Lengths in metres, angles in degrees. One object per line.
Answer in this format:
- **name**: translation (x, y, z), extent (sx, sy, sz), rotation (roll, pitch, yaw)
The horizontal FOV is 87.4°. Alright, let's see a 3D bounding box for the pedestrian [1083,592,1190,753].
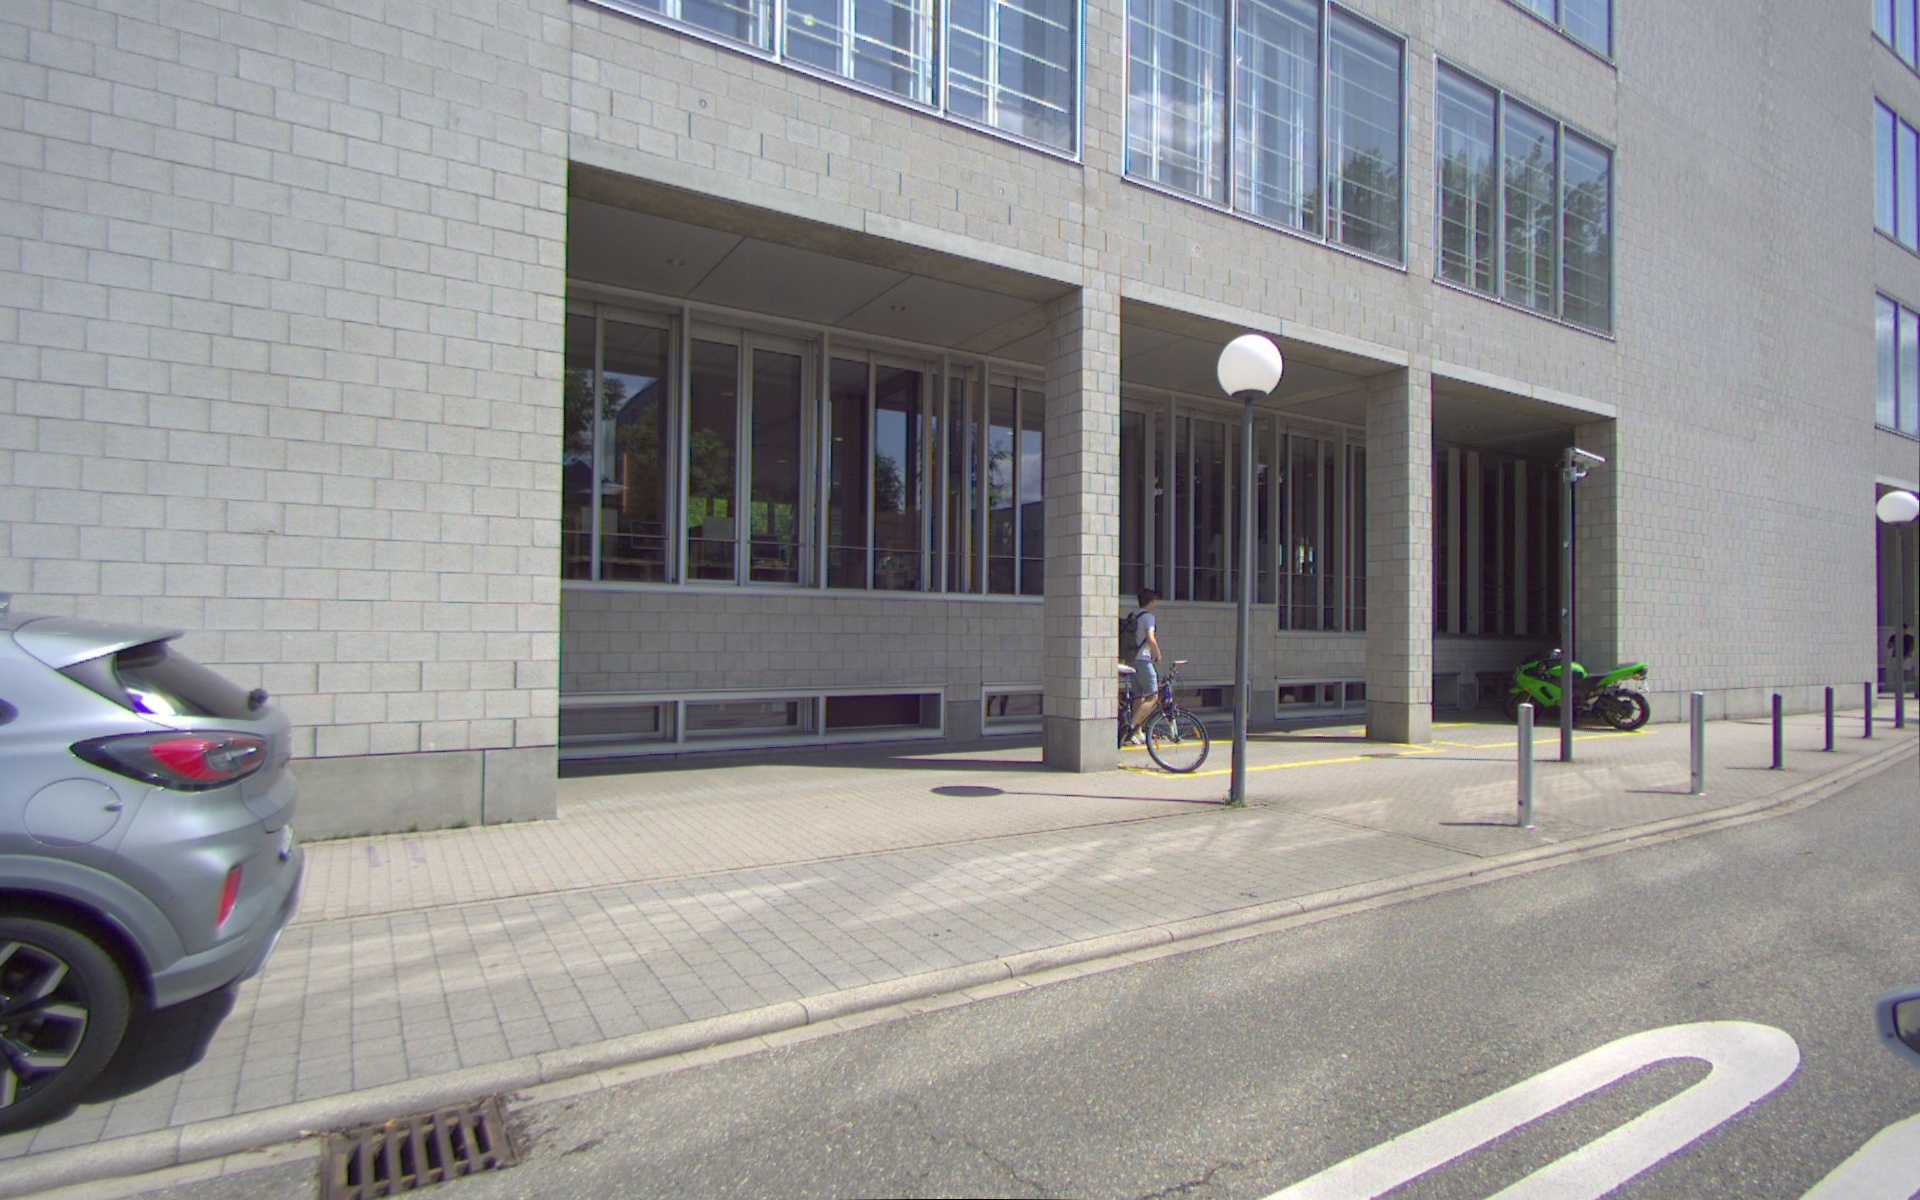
- **pedestrian**: translation (2.145, 0.851, 12.218), extent (1.003, 1.863, 0.772), rotation (2, -1, -33)

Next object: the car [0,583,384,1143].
- **car**: translation (-4.212, 0.689, 2.888), extent (4.357, 1.555, 1.717), rotation (3, 0, -32)

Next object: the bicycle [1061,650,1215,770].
- **bicycle**: translation (1.852, 1.117, 10.640), extent (0.602, 1.101, 1.627), rotation (2, -1, -37)

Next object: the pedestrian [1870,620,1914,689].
- **pedestrian**: translation (26.062, 1.513, 28.096), extent (0.712, 1.905, 0.727), rotation (2, -1, -32)

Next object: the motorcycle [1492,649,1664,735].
- **motorcycle**: translation (9.500, 1.373, 15.513), extent (0.769, 1.153, 2.146), rotation (2, -1, -41)
